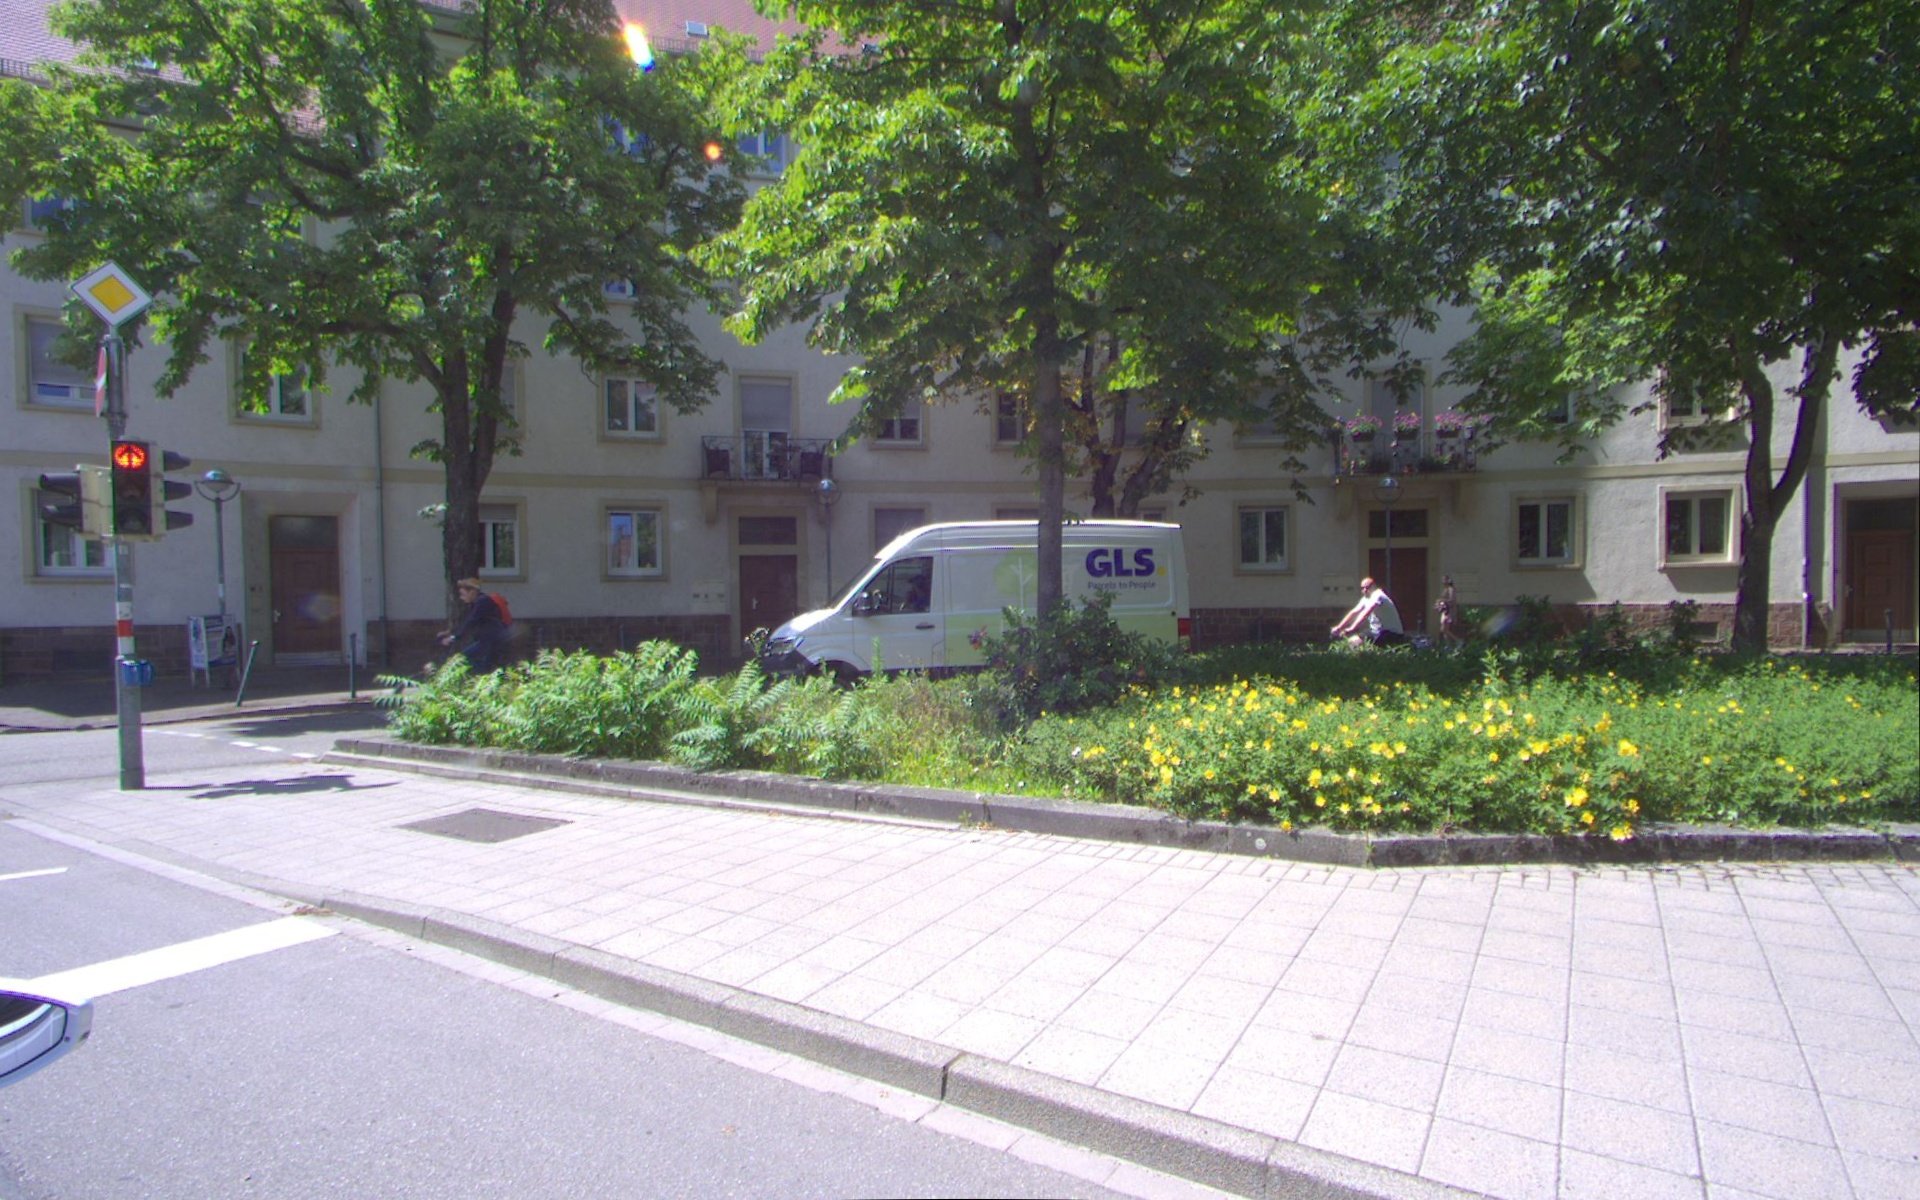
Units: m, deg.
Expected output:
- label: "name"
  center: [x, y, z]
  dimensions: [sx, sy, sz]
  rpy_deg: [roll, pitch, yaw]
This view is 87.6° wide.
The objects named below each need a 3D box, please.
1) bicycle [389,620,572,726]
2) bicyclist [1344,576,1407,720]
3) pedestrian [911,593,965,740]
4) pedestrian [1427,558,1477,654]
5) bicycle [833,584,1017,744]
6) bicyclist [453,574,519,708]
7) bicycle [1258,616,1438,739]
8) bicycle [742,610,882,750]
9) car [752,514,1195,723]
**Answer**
- label: "bicycle"
  center: [-6.109, 0.890, 12.822]
  dimensions: [2.059, 1.252, 0.577]
  rpy_deg: [0, 0, -33]
- label: "bicyclist"
  center: [5.364, 0.610, 12.955]
  dimensions: [0.524, 1.823, 0.603]
  rpy_deg: [0, 0, -6]
- label: "pedestrian"
  center: [-0.201, 0.594, 9.135]
  dimensions: [0.345, 1.301, 0.365]
  rpy_deg: [-1, 0, 32]
- label: "pedestrian"
  center: [10.682, 0.137, 21.755]
  dimensions: [0.758, 2.040, 0.807]
  rpy_deg: [-1, 0, 10]
- label: "bicycle"
  center: [-0.354, 0.565, 9.227]
  dimensions: [1.809, 1.377, 0.351]
  rpy_deg: [-1, 0, 33]
- label: "bicyclist"
  center: [-6.078, 0.513, 12.833]
  dimensions: [0.686, 1.667, 0.577]
  rpy_deg: [0, 0, -32]
- label: "bicycle"
  center: [4.986, 0.975, 12.910]
  dimensions: [2.126, 1.505, 0.593]
  rpy_deg: [0, 0, -6]
- label: "bicycle"
  center: [-1.293, 0.680, 8.649]
  dimensions: [1.269, 1.141, 0.332]
  rpy_deg: [-2, -1, 32]
- label: "car"
  center: [0.134, 0.214, 13.871]
  dimensions: [5.738, 2.624, 1.999]
  rpy_deg: [0, 1, -7]
